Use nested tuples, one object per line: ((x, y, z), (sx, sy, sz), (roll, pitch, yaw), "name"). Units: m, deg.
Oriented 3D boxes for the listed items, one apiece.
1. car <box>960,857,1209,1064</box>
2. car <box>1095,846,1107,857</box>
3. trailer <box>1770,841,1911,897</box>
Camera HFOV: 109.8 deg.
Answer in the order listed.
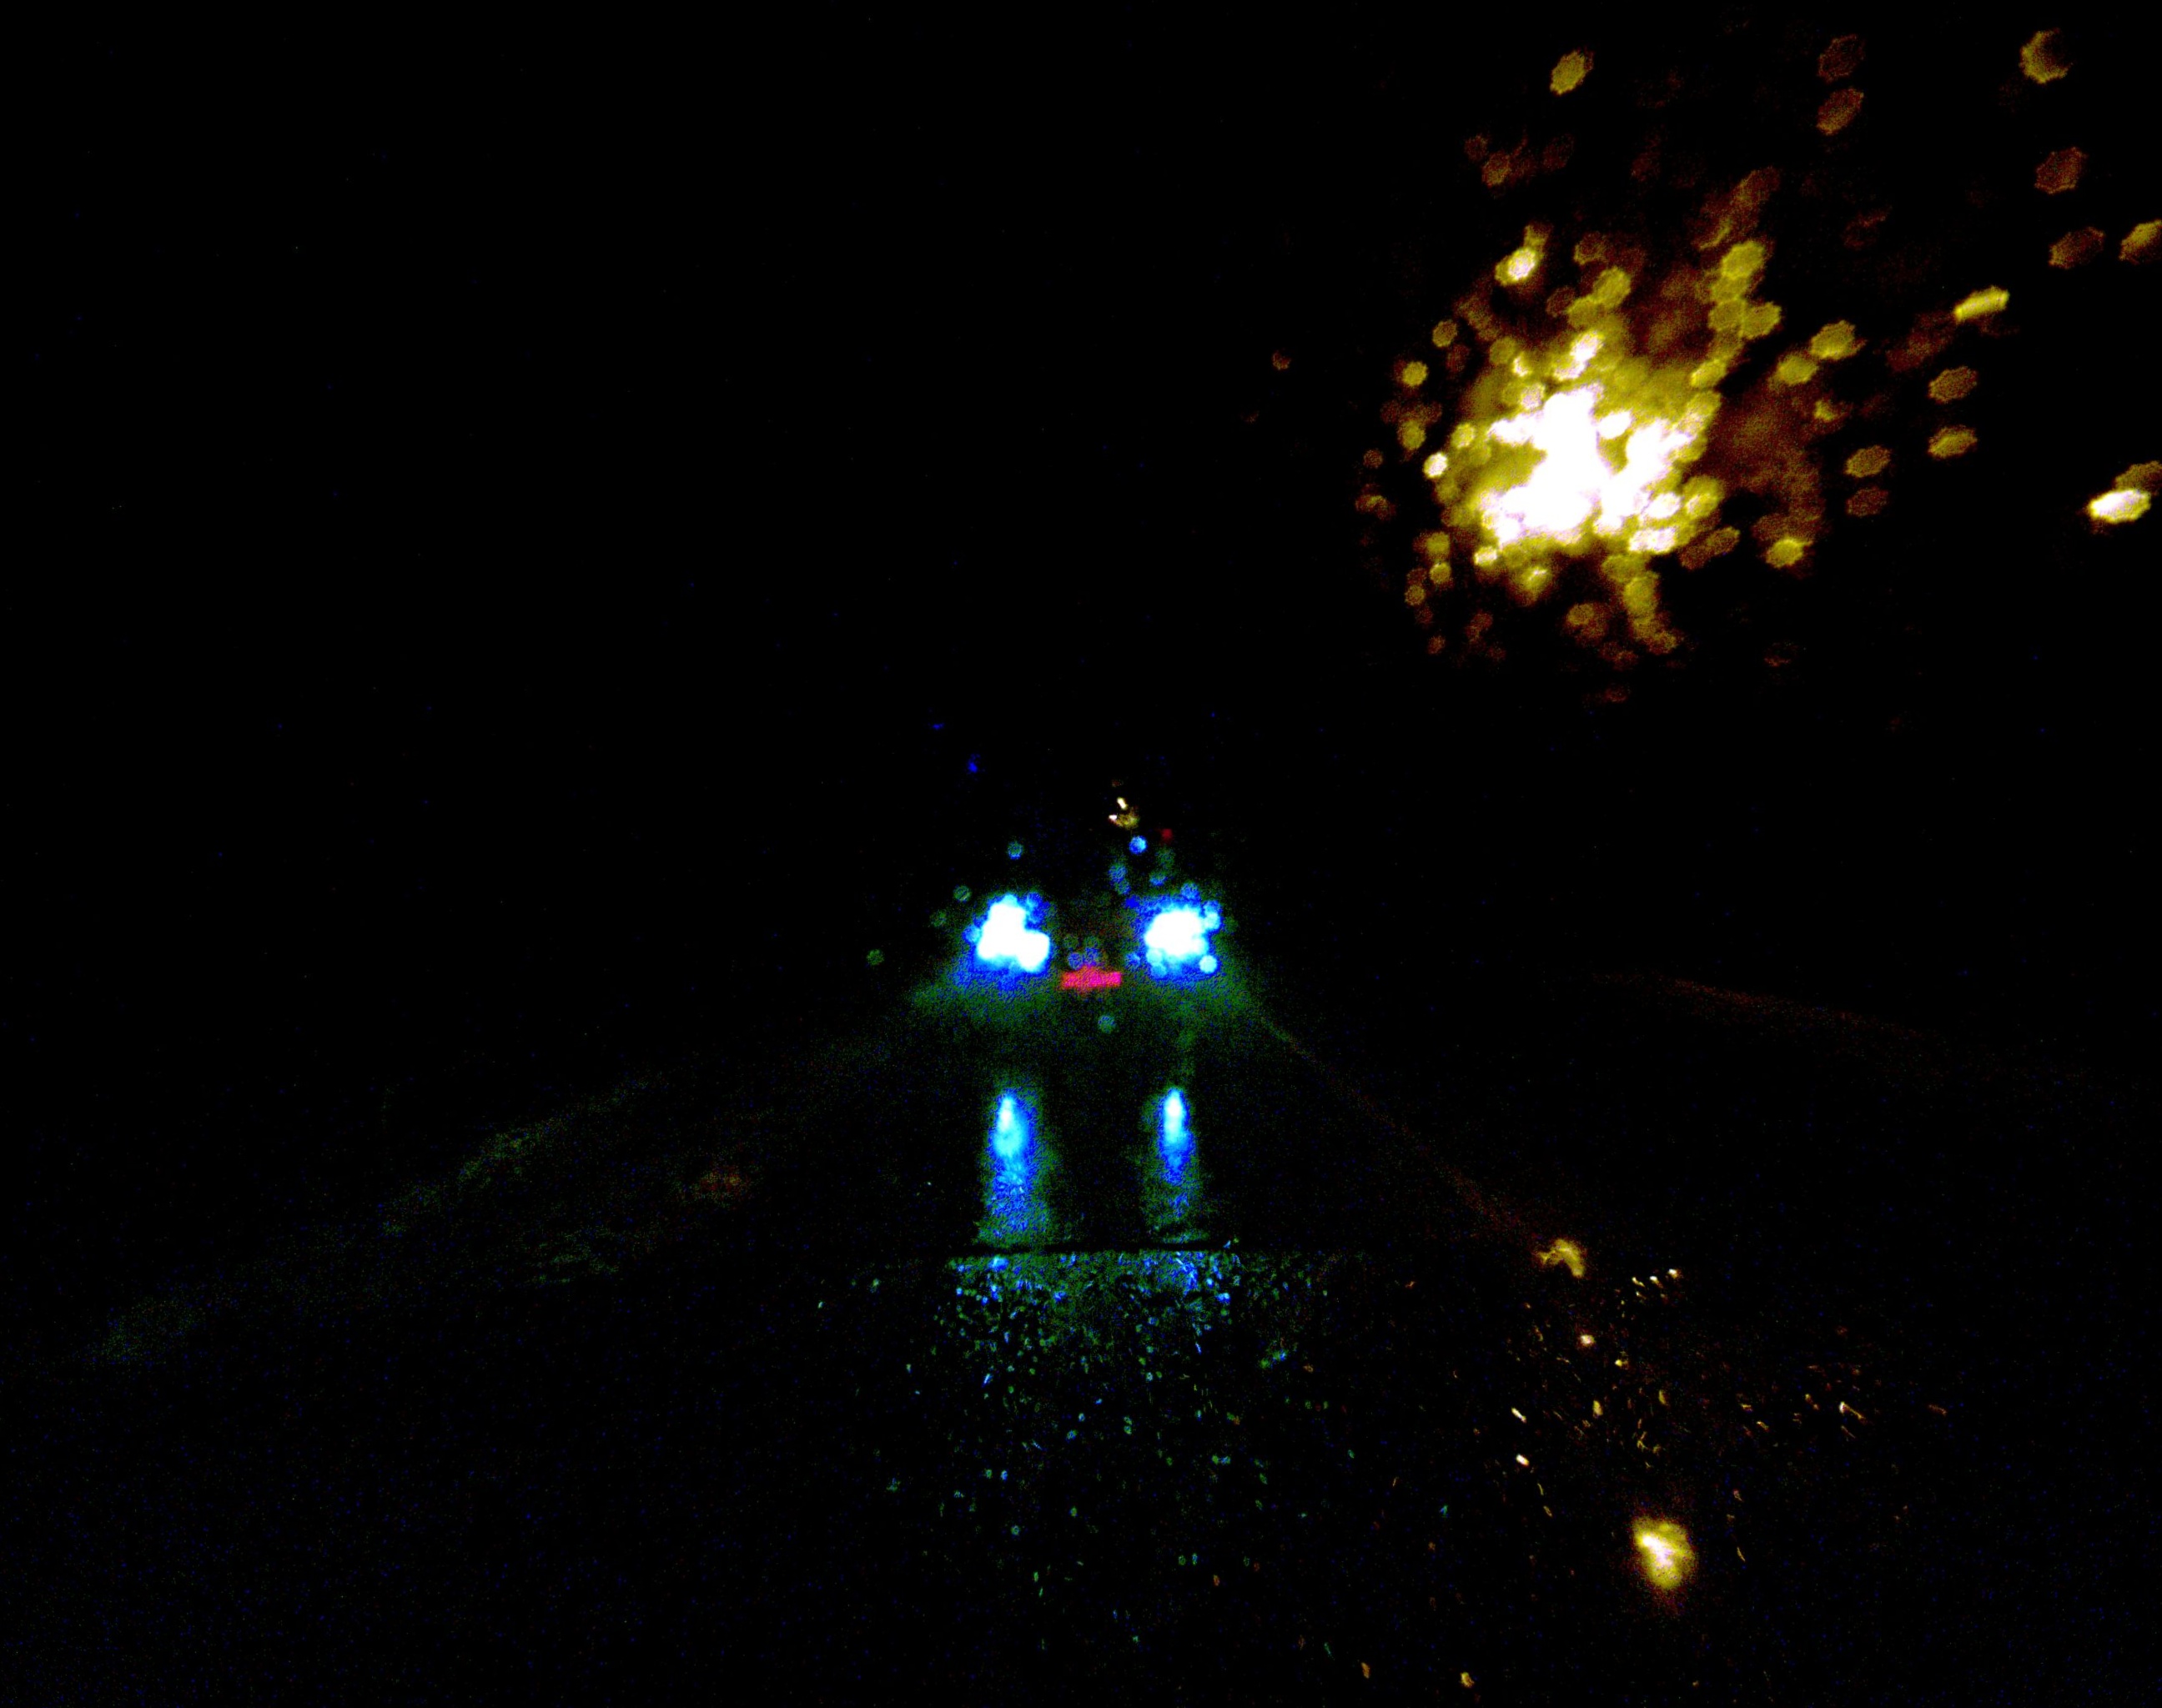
((0.069, 0.856, 8.390), (1.944, 1.580, 4.775), (-1, 0, 1), "car")
((3.172, -0.381, 122.003), (1.878, 1.536, 4.356), (1, -1, 1), "car")
((33.467, 0.604, 33.626), (3.801, 2.206, 1.976), (3, 3, 18), "trailer")
